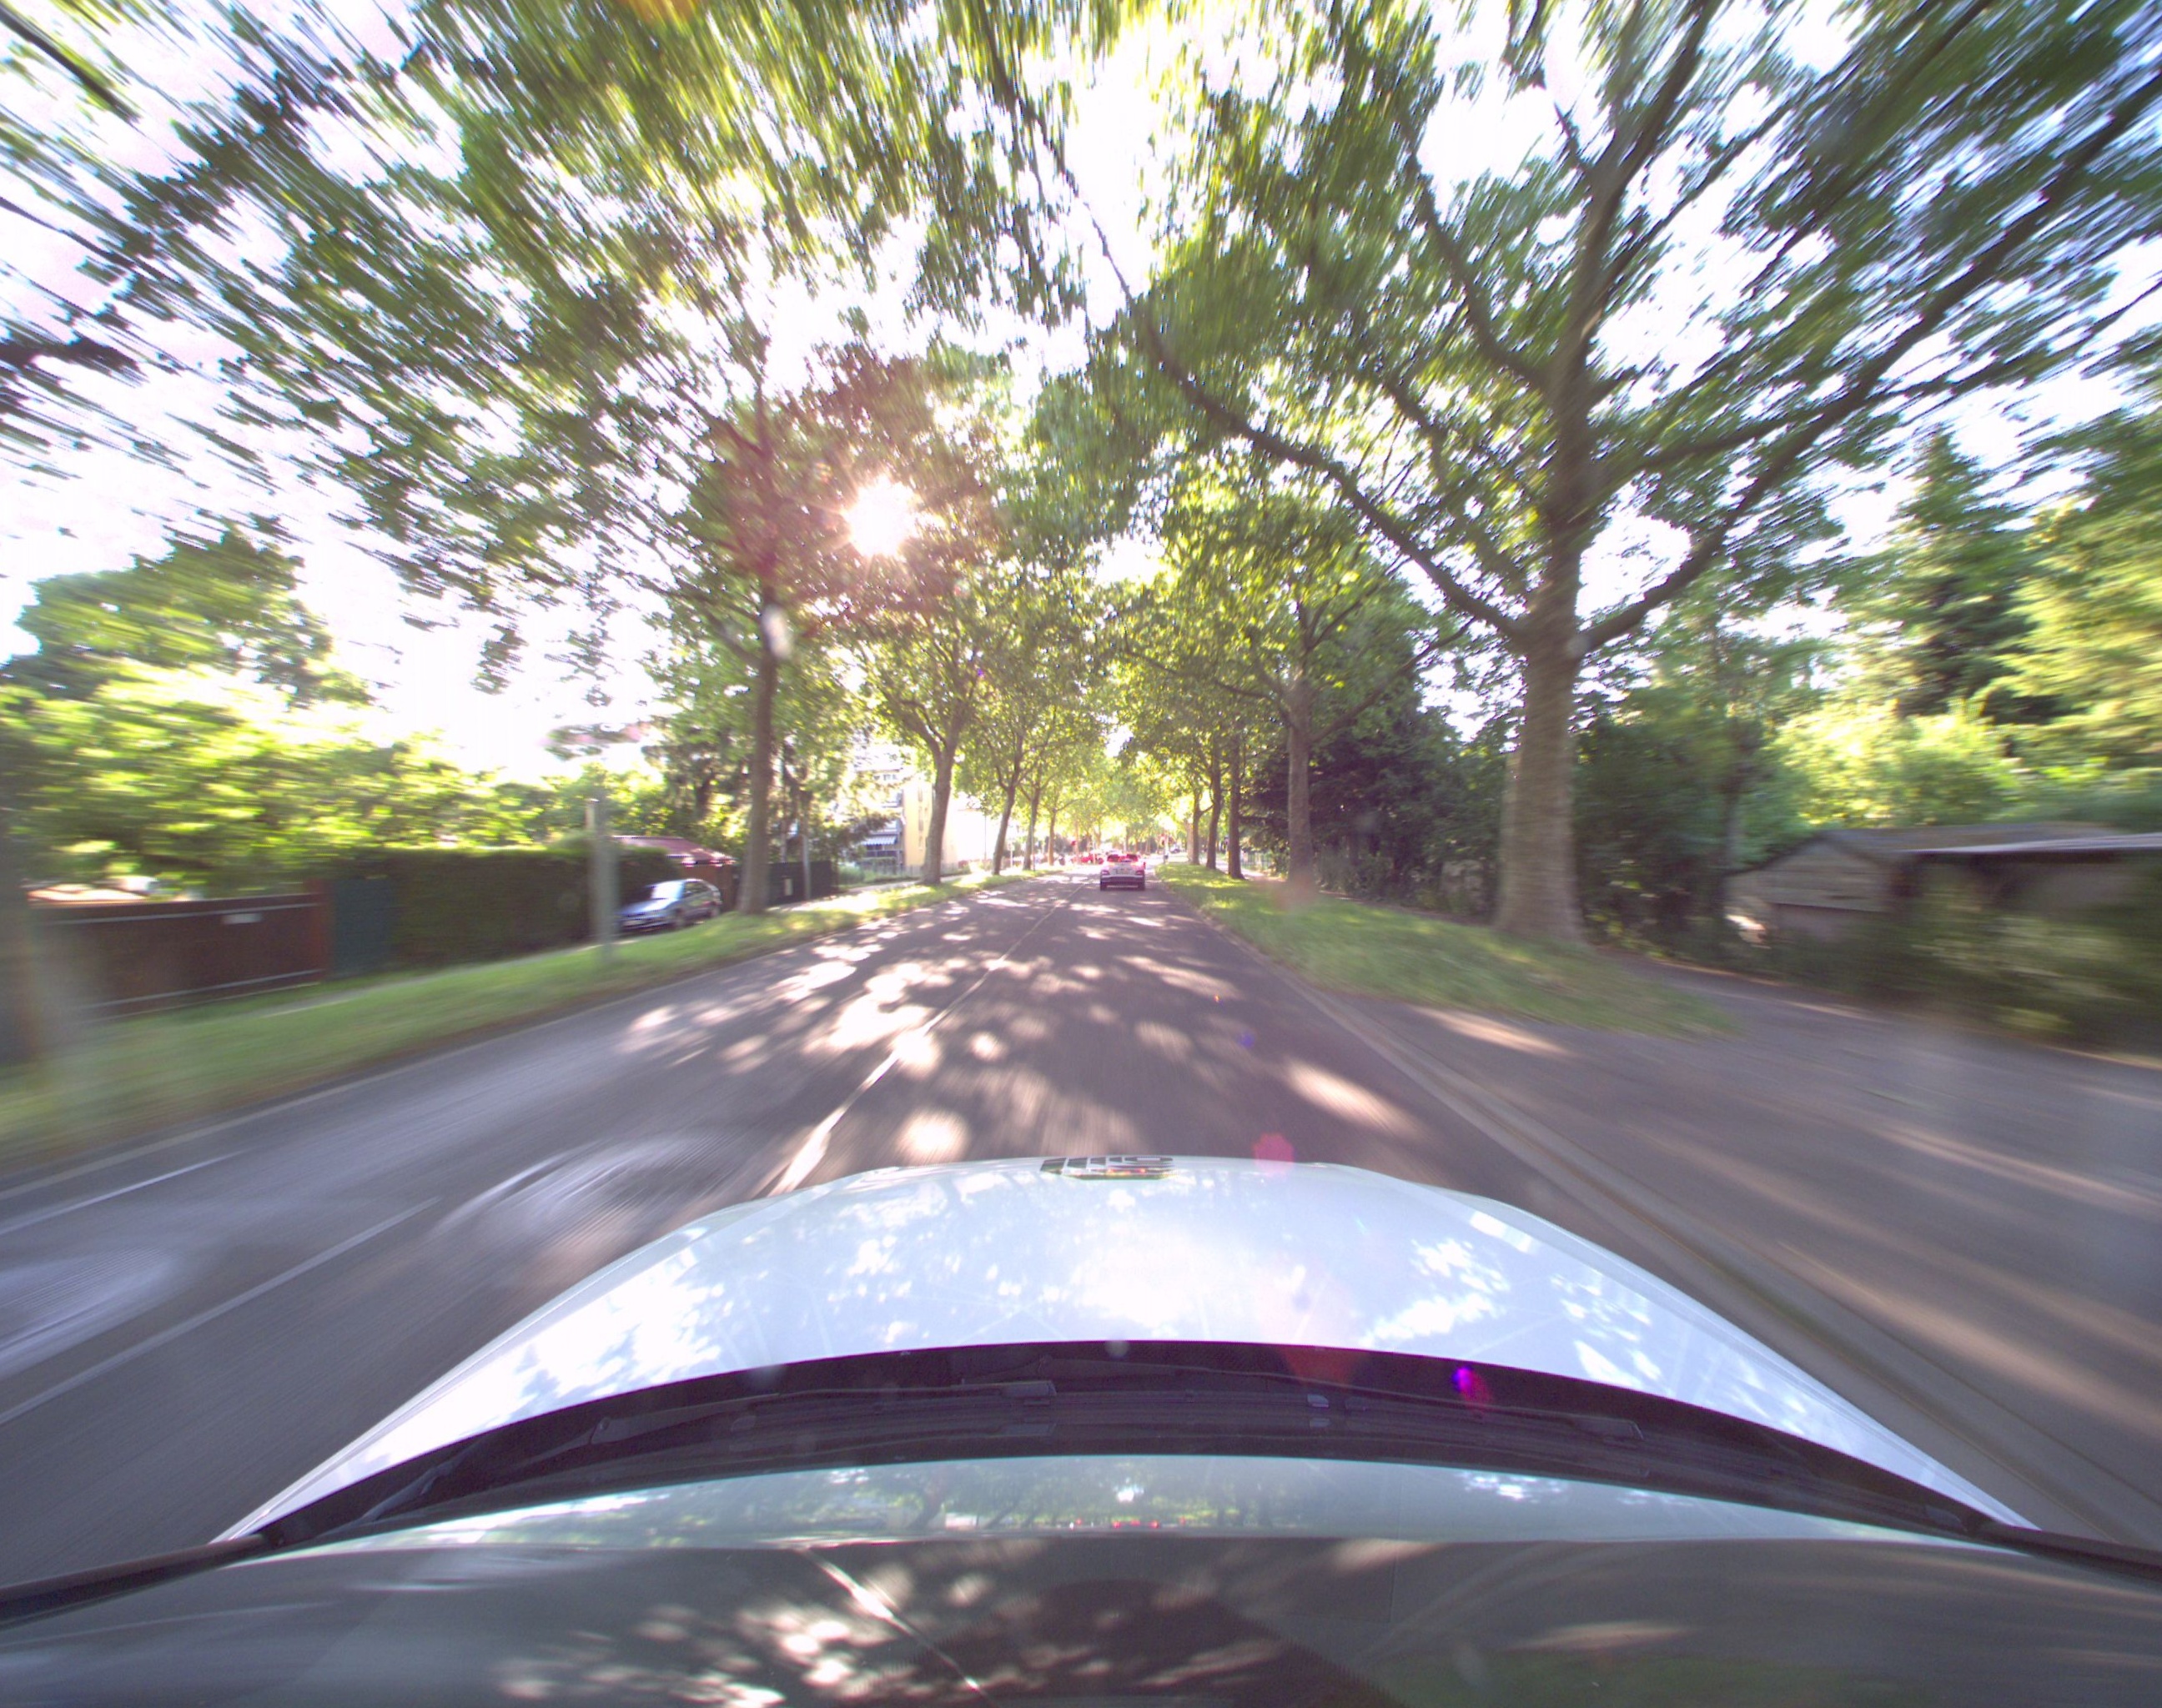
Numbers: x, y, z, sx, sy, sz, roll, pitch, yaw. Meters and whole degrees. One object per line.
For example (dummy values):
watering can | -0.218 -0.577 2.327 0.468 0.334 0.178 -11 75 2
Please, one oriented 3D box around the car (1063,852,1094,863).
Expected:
car | -0.305 0.478 110.666 3.968 1.478 2.003 0 -1 5

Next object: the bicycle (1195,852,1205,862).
bicycle | 15.139 0.386 103.731 0.604 1.183 2.108 0 -1 -14

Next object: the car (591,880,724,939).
car | -12.084 1.532 23.562 1.747 1.304 3.998 -2 1 -1

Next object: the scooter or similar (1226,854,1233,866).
scooter or similar | 15.479 0.661 84.685 0.546 1.258 2.317 0 0 6

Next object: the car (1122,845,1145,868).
car | 4.774 0.240 74.239 1.985 2.014 4.003 0 0 3

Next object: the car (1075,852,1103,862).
car | 1.159 0.420 118.042 3.968 1.478 2.003 0 -1 5

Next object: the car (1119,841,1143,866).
car | 4.138 -0.014 67.291 1.985 2.014 4.004 0 0 3

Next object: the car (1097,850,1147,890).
car | 1.733 0.627 33.940 1.985 1.574 4.004 0 0 3

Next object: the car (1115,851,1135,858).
car | 8.784 0.051 162.735 3.968 1.478 2.003 0 -1 5

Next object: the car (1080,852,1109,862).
car | 1.996 0.397 120.417 3.965 1.478 2.004 0 -1 7

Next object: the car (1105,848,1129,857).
car | 6.148 -0.267 139.790 3.968 1.478 2.003 0 -1 5

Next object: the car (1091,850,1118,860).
car | 3.676 0.203 125.658 3.968 1.478 2.003 0 -1 5

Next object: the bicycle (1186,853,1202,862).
bicycle | 14.232 0.433 102.698 0.608 1.164 2.125 1 -1 -39
